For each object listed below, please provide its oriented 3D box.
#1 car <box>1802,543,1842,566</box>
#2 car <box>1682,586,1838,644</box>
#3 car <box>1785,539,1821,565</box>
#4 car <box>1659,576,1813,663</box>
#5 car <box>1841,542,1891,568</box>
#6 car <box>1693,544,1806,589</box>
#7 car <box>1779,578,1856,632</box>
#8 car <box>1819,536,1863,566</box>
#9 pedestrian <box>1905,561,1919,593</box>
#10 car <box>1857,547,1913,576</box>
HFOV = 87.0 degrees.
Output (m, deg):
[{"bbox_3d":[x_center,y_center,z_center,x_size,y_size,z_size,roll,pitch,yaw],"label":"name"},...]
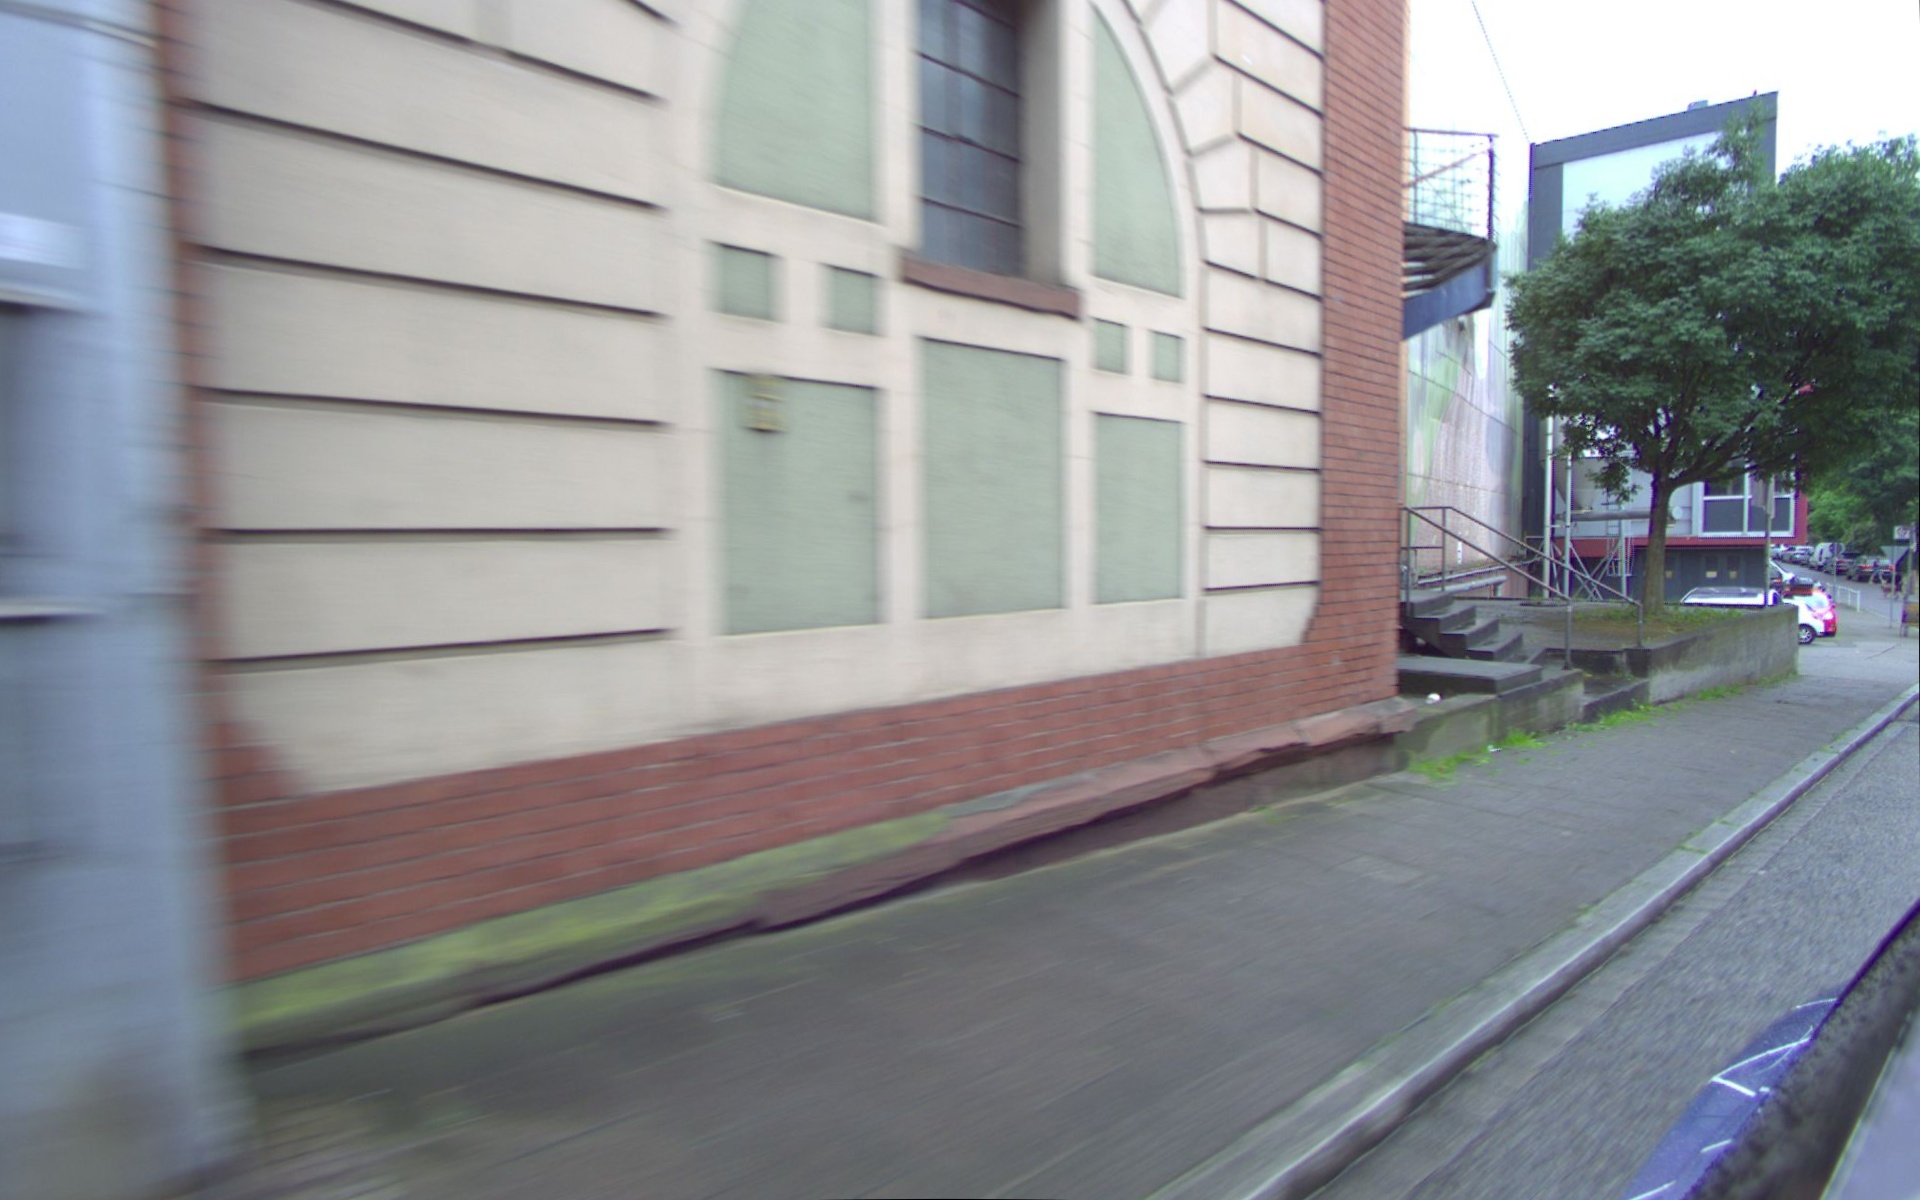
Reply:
[{"bbox_3d":[69.357,-3.682,81.505,1.895,1.670,3.956,2,5,33],"label":"car"},{"bbox_3d":[27.261,0.458,34.689,3.967,1.551,1.853,5,5,34],"label":"car"},{"bbox_3d":[72.351,-4.165,86.904,1.895,2.059,3.956,2,5,33],"label":"car"},{"bbox_3d":[16.787,0.405,21.784,4.832,1.637,1.855,1,1,-43],"label":"car"},{"bbox_3d":[62.340,-3.107,69.662,1.895,1.670,3.956,2,5,33],"label":"car"},{"bbox_3d":[44.543,-1.939,57.192,4.874,2.236,1.856,4,7,42],"label":"car"},{"bbox_3d":[32.083,0.112,37.979,1.922,1.732,4.433,2,4,37],"label":"car"},{"bbox_3d":[65.932,-3.701,75.788,1.895,2.100,3.956,2,5,33],"label":"car"},{"bbox_3d":[48.606,-1.197,51.432,0.699,1.585,0.614,1,5,36],"label":"pedestrian"},{"bbox_3d":[58.603,-2.466,64.195,1.895,1.670,3.956,2,5,33],"label":"car"}]
